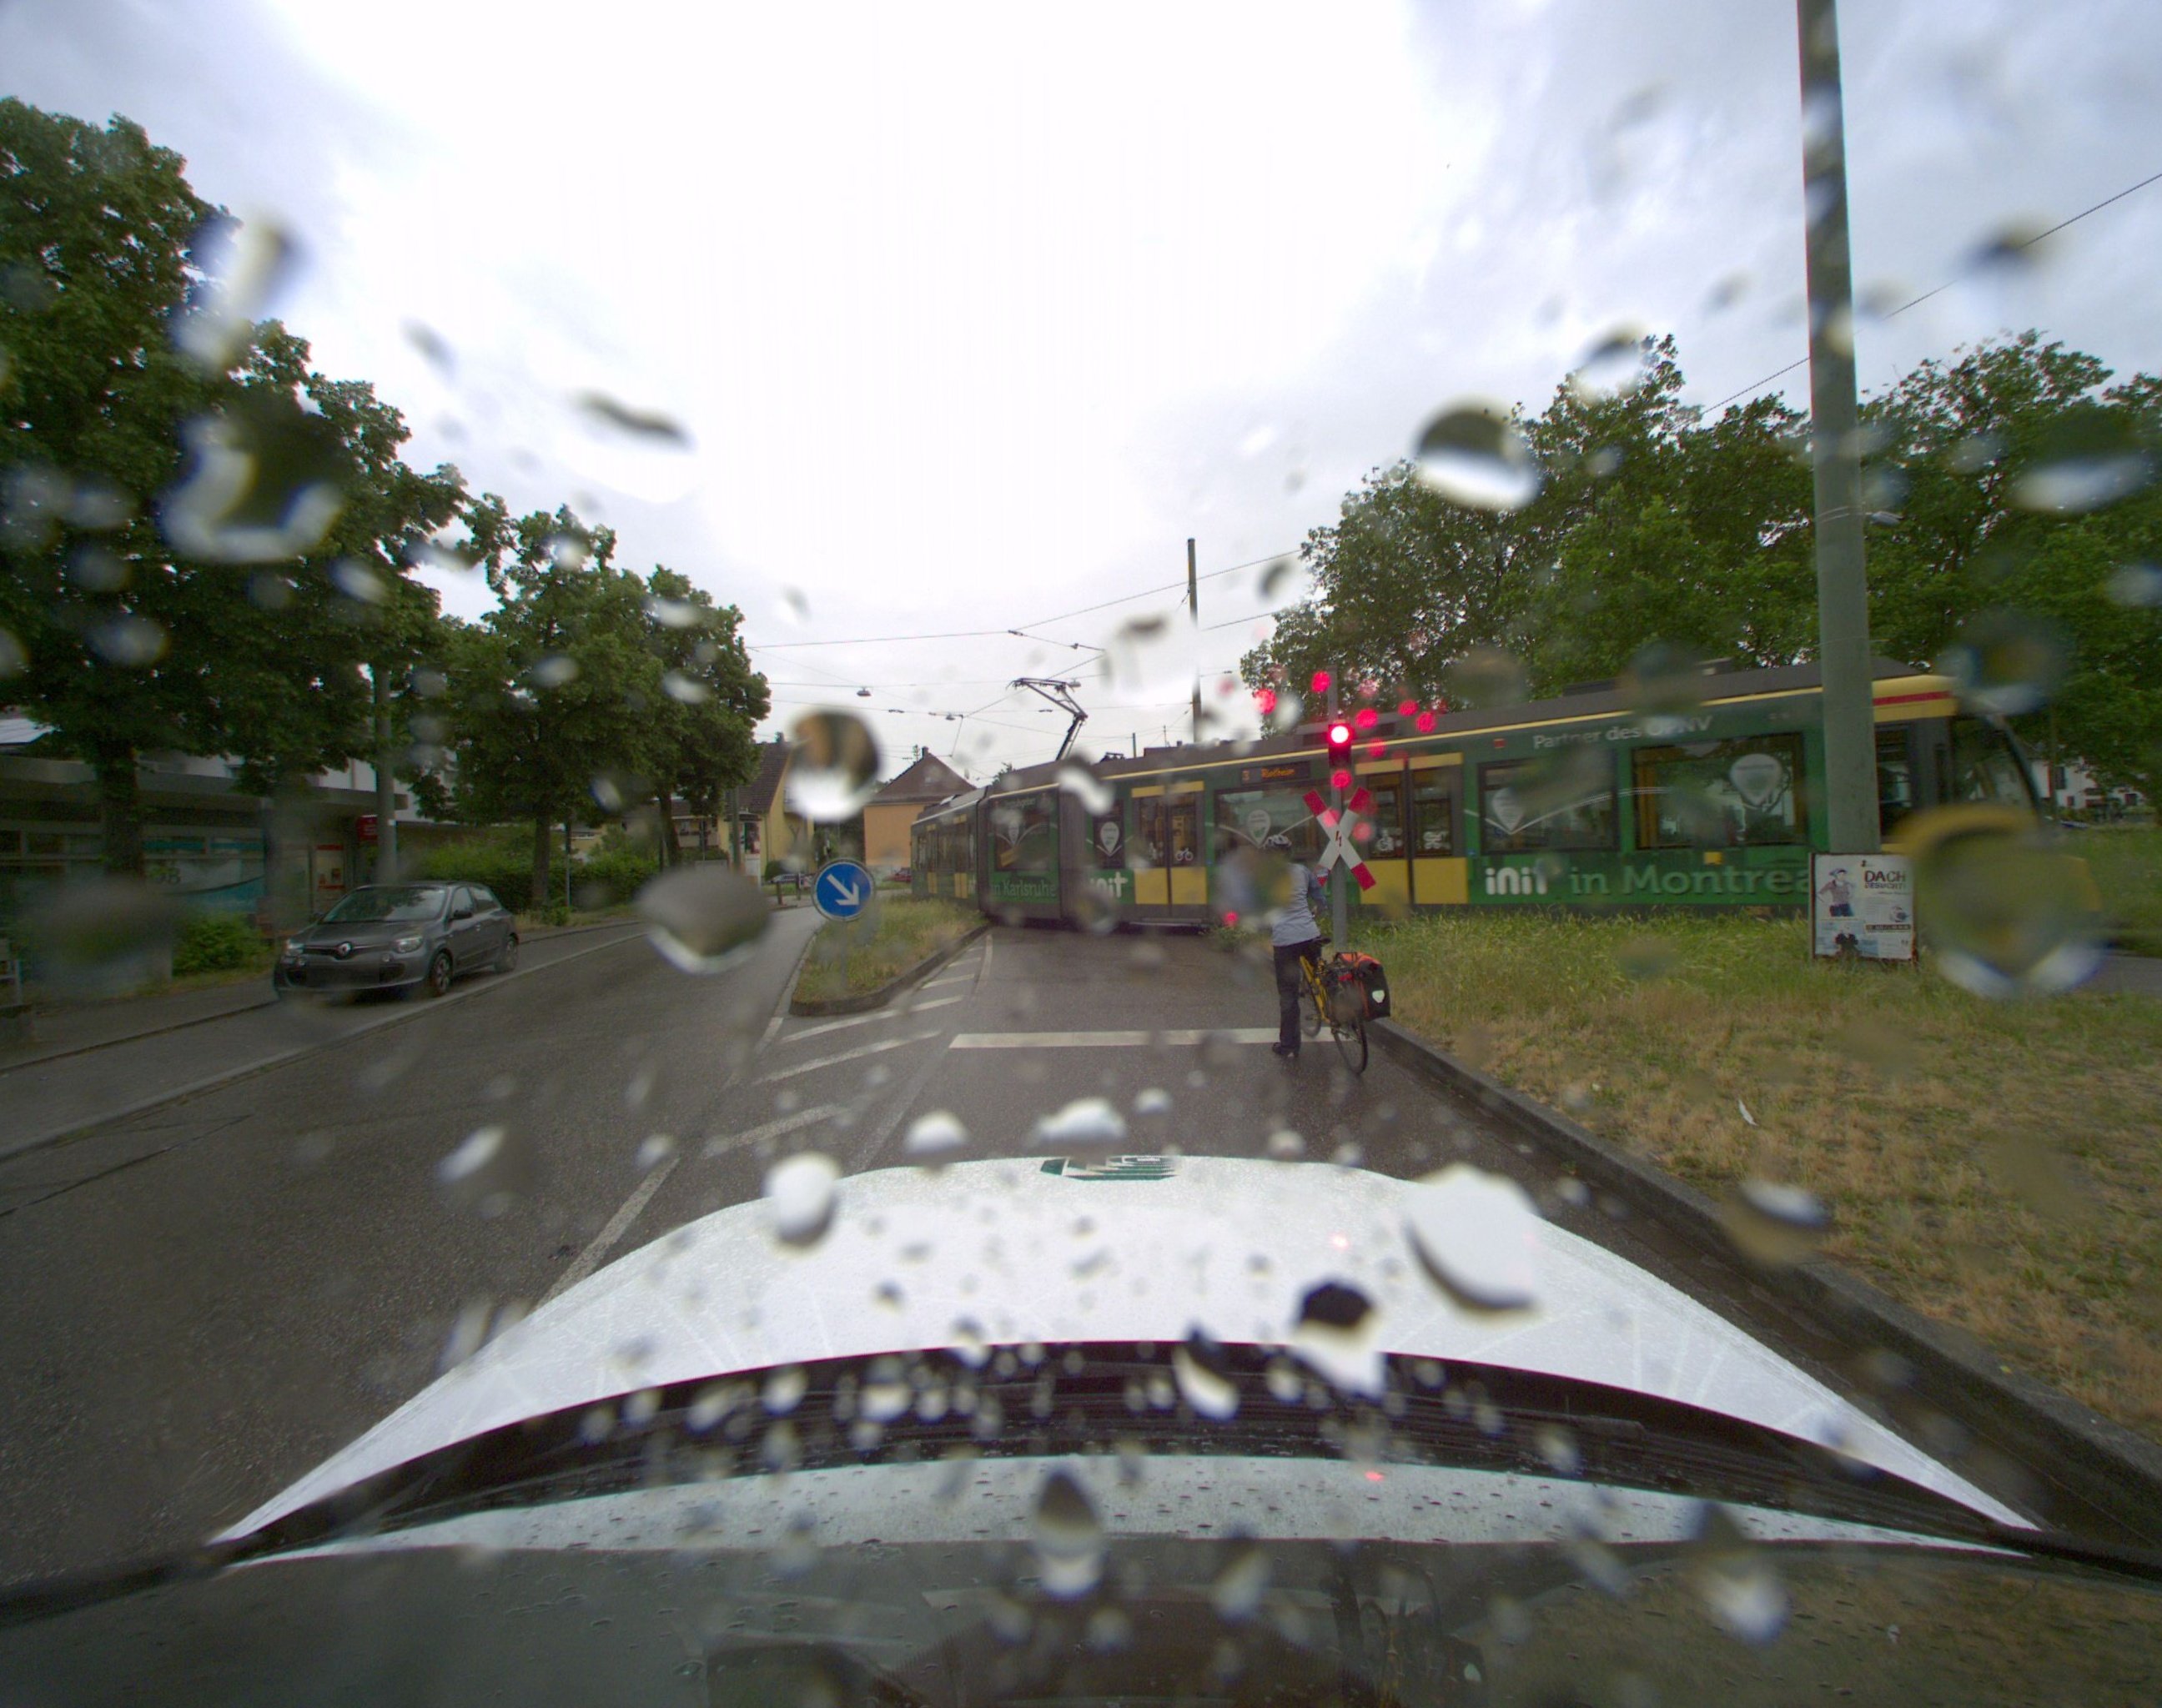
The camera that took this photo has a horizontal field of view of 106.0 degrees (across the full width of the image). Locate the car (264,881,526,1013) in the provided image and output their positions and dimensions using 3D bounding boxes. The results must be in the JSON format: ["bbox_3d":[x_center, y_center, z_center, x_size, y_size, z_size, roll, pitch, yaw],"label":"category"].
[{"bbox_3d":[-9.689,1.193,11.881,1.621,1.496,3.645,0,-1,-18],"label":"car"}]

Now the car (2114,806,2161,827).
[{"bbox_3d":[89.729,-3.162,68.331,3.670,1.660,1.891,0,-1,2],"label":"car"}]

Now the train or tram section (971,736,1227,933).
[{"bbox_3d":[0.227,-0.317,17.430,2.784,3.553,4.929,-2,-1,-40],"label":"train or tram section"}]

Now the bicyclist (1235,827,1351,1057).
[{"bbox_3d":[1.582,0.627,6.199,0.665,1.626,0.853,0,-1,1],"label":"bicyclist"}]

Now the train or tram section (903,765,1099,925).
[{"bbox_3d":[-3.108,-0.125,24.653,2.770,3.553,13.045,-2,0,-19],"label":"train or tram section"}]

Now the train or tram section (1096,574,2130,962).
[{"bbox_3d":[5.827,-0.596,12.434,12.047,3.553,2.787,-3,-1,41],"label":"train or tram section"}]

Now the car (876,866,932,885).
[{"bbox_3d":[-13.659,1.650,63.075,3.979,1.456,1.831,0,-1,-5],"label":"car"}]

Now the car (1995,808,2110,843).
[{"bbox_3d":[54.609,-1.578,45.844,1.815,1.765,3.879,0,-1,-29],"label":"car"}]

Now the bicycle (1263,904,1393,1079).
[{"bbox_3d":[1.794,0.945,6.141,0.444,1.004,1.728,-2,0,1],"label":"bicycle"}]
